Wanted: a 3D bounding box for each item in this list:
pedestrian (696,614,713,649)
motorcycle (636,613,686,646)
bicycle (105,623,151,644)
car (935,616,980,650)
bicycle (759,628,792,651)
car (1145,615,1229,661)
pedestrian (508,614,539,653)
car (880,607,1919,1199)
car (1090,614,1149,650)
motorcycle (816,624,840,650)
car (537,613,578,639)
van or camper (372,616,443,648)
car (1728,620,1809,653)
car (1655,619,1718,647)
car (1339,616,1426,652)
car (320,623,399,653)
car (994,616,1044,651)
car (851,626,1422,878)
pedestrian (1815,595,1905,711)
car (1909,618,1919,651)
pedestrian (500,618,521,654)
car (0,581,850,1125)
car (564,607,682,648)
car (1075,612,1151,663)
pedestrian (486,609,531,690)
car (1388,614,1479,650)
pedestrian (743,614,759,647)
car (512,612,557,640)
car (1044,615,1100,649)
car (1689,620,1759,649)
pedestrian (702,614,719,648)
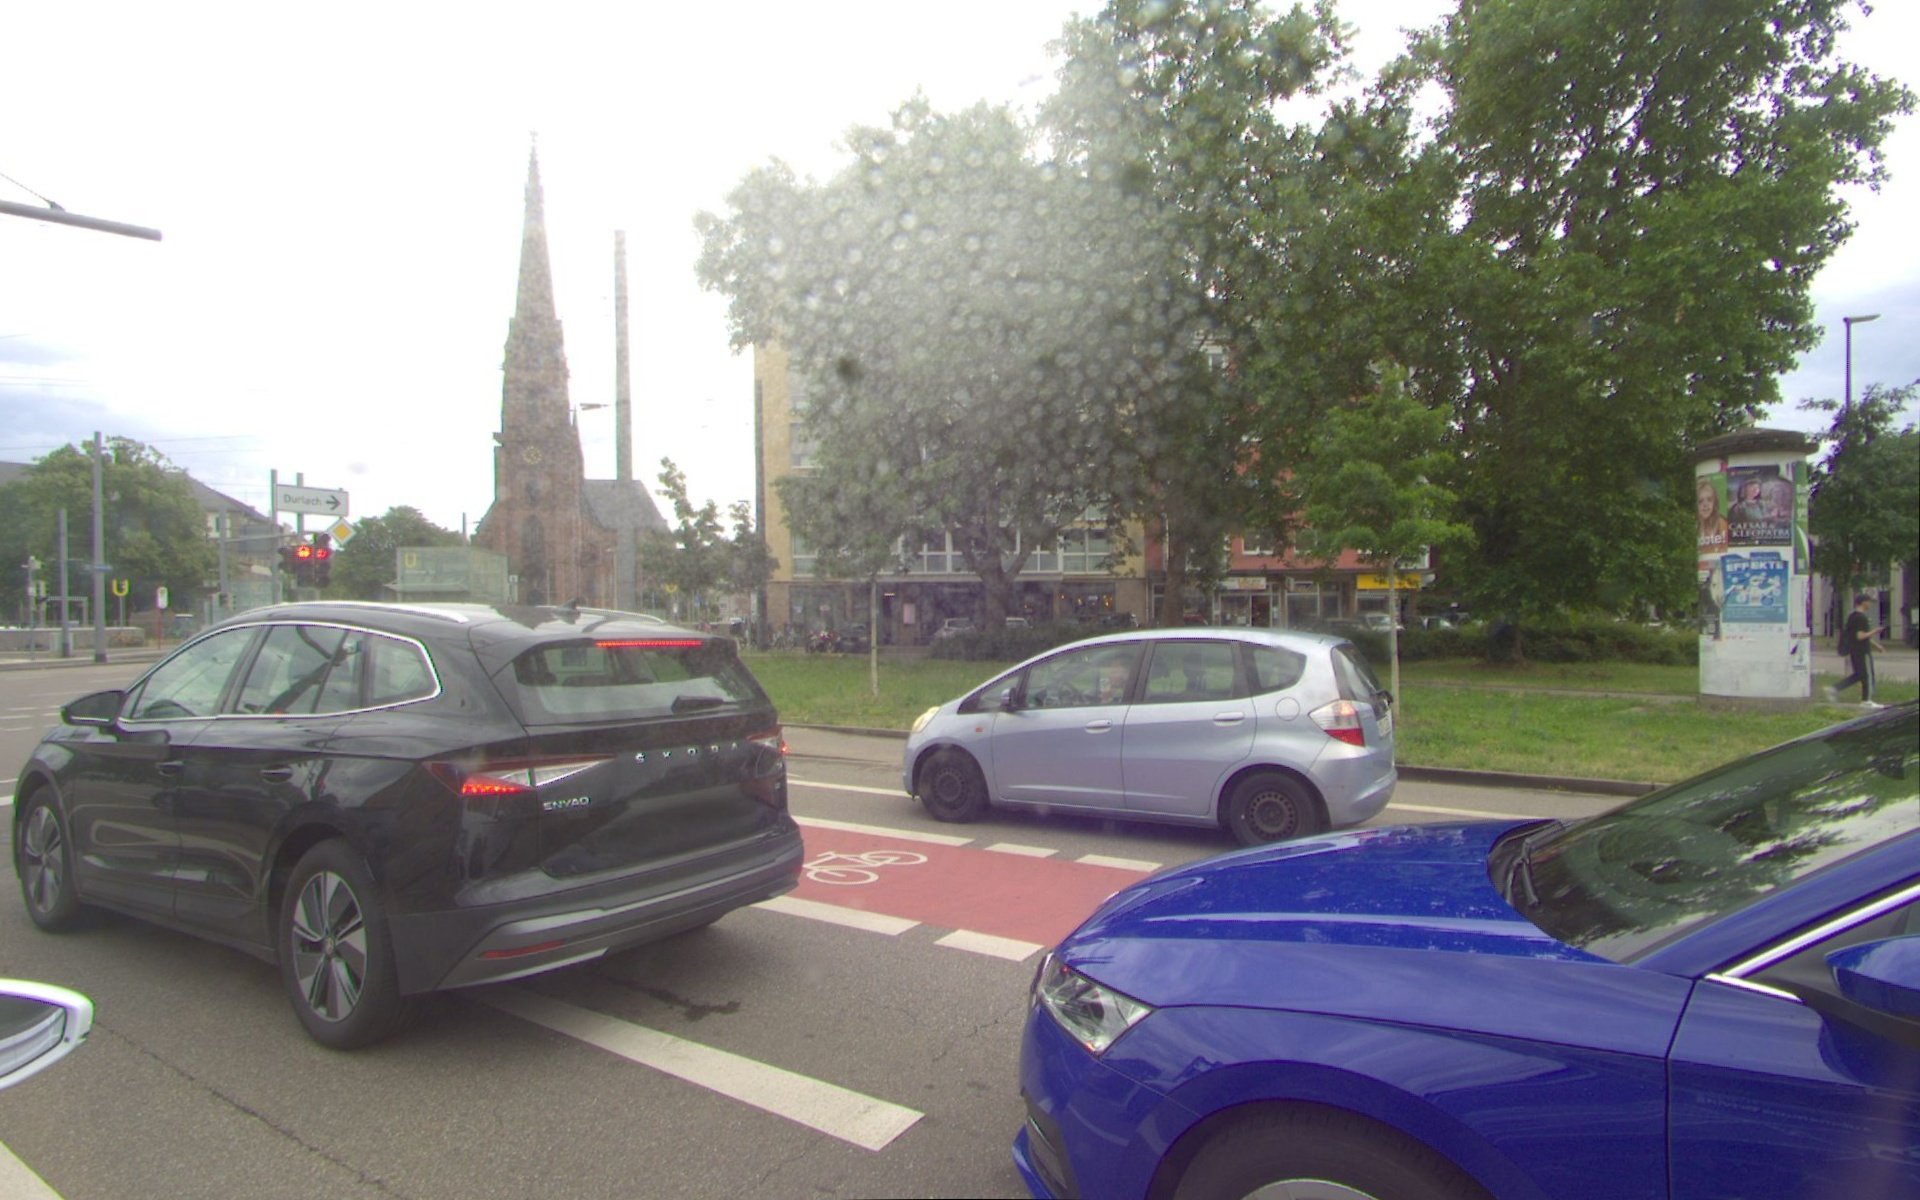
[{"bbox_3d":[-12.351,1.527,48.380,0.625,1.659,0.872,0,0,0],"label":"pedestrian"},{"bbox_3d":[-11.116,1.090,37.335,0.753,1.183,2.385,0,-1,12],"label":"motorcycle"},{"bbox_3d":[-55.435,2.233,66.740,0.699,1.348,2.252,-2,-1,39],"label":"bicycle"},{"bbox_3d":[-0.150,1.495,46.153,1.825,1.509,4.476,0,-1,-3],"label":"car"},{"bbox_3d":[-7.450,1.597,40.457,1.240,0.929,0.595,0,0,2],"label":"bicycle"},{"bbox_3d":[8.234,1.340,36.675,1.825,1.568,4.476,0,-1,-3],"label":"car"},{"bbox_3d":[-21.001,1.612,48.170,1.066,1.820,0.947,-1,-1,-4],"label":"pedestrian"},{"bbox_3d":[2.161,0.761,1.670,4.402,1.508,1.776,-1,-1,32],"label":"car"},{"bbox_3d":[7.380,1.461,46.697,1.825,1.568,4.476,0,-1,-3],"label":"car"},{"bbox_3d":[-5.201,1.433,39.413,0.858,1.010,1.014,0,-1,-14],"label":"motorcycle"},{"bbox_3d":[-32.561,2.057,81.045,1.961,2.040,4.000,0,-1,-5],"label":"car"},{"bbox_3d":[-33.023,1.893,60.002,1.961,1.764,4.305,-2,-1,-3],"label":"van or camper"},{"bbox_3d":[43.527,1.950,54.023,1.828,1.644,4.469,-2,-1,17],"label":"car"},{"bbox_3d":[46.795,2.105,64.602,1.828,1.644,4.469,-2,-1,17],"label":"car"},{"bbox_3d":[19.508,1.536,46.448,1.825,1.568,4.476,0,-1,-5],"label":"car"},{"bbox_3d":[-32.247,2.027,53.860,1.740,1.483,4.001,-2,-1,1],"label":"car"},{"bbox_3d":[2.668,1.505,46.200,1.825,1.509,4.476,0,-1,-3],"label":"car"},{"bbox_3d":[1.281,0.951,7.789,4.039,1.486,1.746,-1,-1,32],"label":"car"},{"bbox_3d":[14.777,0.857,16.465,0.970,1.868,0.535,0,0,22],"label":"pedestrian"},{"bbox_3d":[46.504,1.598,46.346,1.865,1.568,4.469,-2,-1,17],"label":"car"},{"bbox_3d":[-20.832,1.645,46.413,0.625,1.659,0.872,0,0,-1],"label":"pedestrian"},{"bbox_3d":[-2.842,0.794,4.902,4.444,1.617,1.774,-1,-1,31],"label":"car"},{"bbox_3d":[-18.099,1.481,53.943,5.674,2.039,2.011,-1,-1,-40],"label":"car"},{"bbox_3d":[5.499,1.324,36.477,1.825,1.745,4.476,0,-1,-3],"label":"car"},{"bbox_3d":[-11.281,1.219,25.050,0.874,1.956,1.016,0,0,-16],"label":"pedestrian"},{"bbox_3d":[21.974,1.472,46.683,1.825,1.568,4.476,0,-1,-5],"label":"car"},{"bbox_3d":[-10.473,1.516,50.124,0.625,1.659,0.872,0,0,0],"label":"pedestrian"},{"bbox_3d":[-32.472,1.977,76.494,1.961,2.040,4.000,0,-1,-5],"label":"car"},{"bbox_3d":[5.140,1.461,46.503,1.825,1.509,4.476,0,-1,-3],"label":"car"},{"bbox_3d":[45.363,2.027,59.561,1.828,1.644,4.469,-2,-1,17],"label":"car"},{"bbox_3d":[-12.321,1.514,49.386,0.625,1.659,0.872,0,0,-1],"label":"pedestrian"}]
